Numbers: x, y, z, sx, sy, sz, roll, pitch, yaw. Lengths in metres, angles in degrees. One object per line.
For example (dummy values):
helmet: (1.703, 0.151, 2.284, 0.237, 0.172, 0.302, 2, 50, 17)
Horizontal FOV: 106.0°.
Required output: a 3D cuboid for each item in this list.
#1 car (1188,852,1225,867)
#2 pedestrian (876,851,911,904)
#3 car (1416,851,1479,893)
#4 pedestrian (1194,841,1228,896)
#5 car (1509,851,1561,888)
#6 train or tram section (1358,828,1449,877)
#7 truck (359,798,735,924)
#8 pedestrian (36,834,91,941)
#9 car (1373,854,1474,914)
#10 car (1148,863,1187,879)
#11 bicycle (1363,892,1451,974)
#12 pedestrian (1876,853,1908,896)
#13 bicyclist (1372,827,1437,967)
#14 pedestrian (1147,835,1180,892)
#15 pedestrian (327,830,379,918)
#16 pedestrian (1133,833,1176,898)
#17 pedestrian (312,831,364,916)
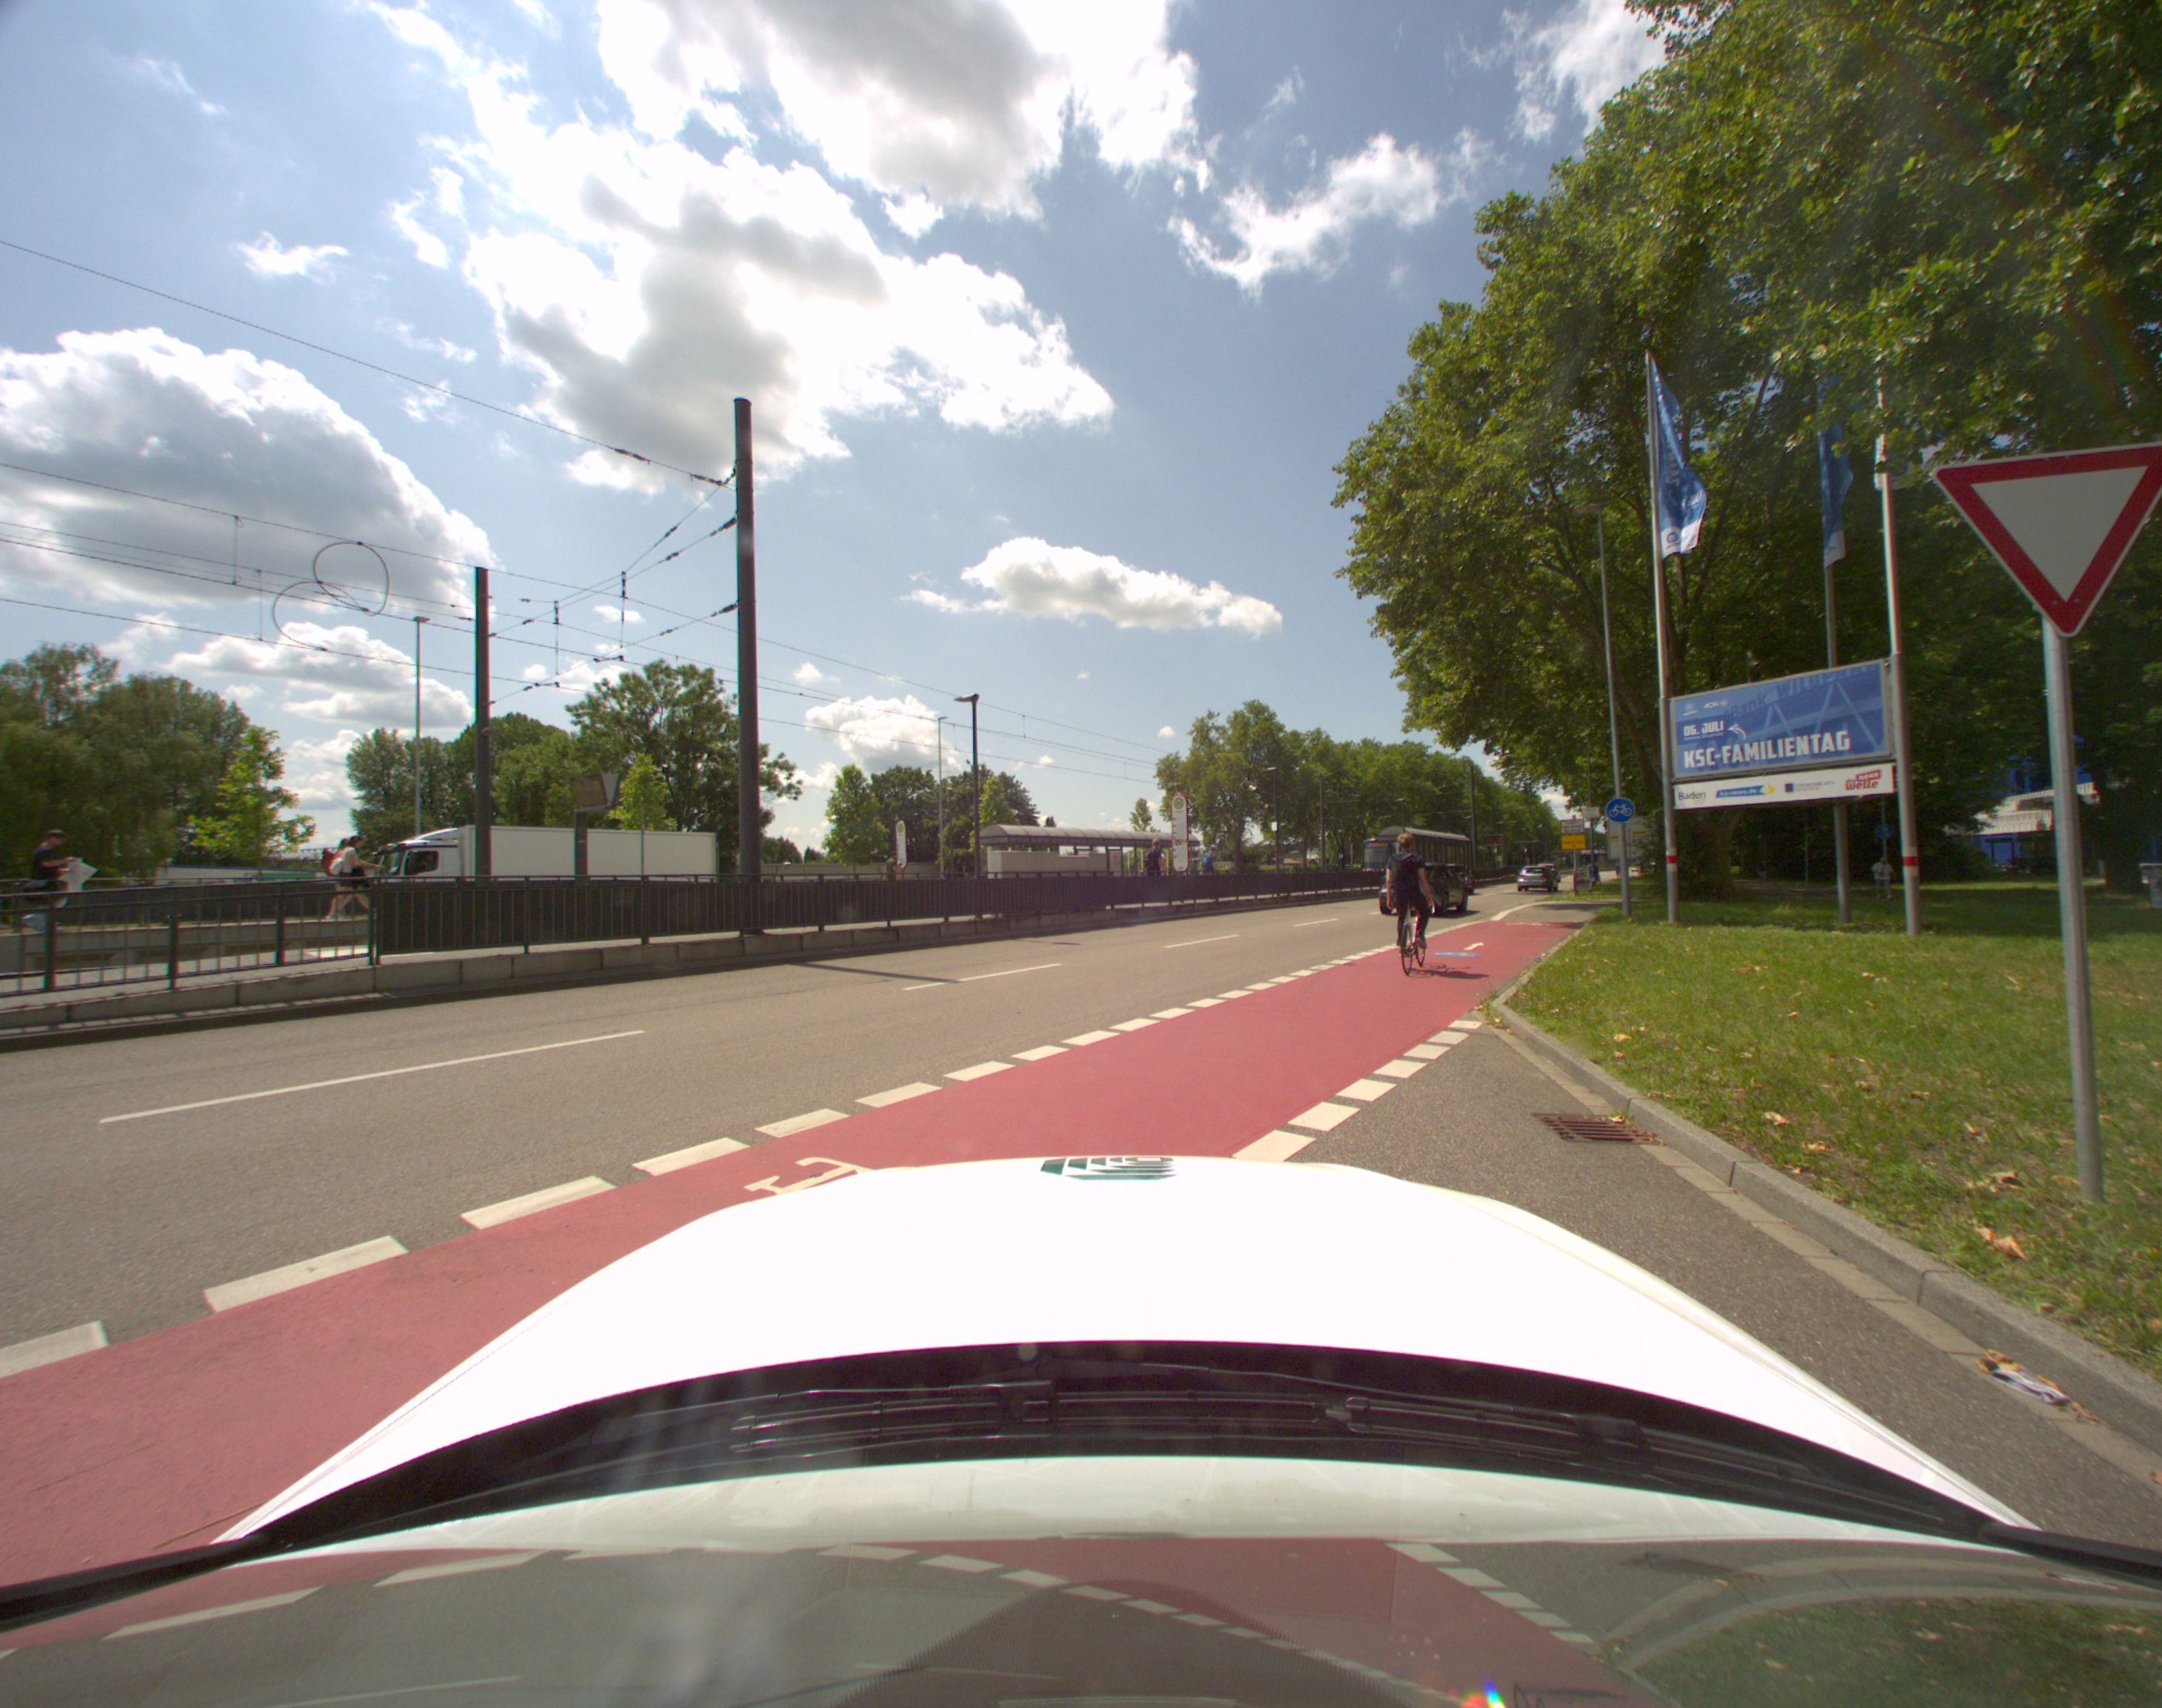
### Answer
car: (14.817, 0.684, 96.461, 3.877, 1.662, 1.922, -1, 0, 38)
pedestrian: (-6.543, 0.795, 28.405, 0.726, 1.807, 0.936, -1, -1, 37)
car: (18.738, 0.853, 41.487, 1.974, 1.989, 4.391, -1, 0, 37)
pedestrian: (4.223, 0.481, 26.494, 0.726, 1.756, 0.936, -1, -1, 37)
car: (26.050, 0.850, 46.658, 1.974, 1.989, 4.391, -2, -1, 37)
train or tram section: (24.280, -0.031, 60.615, 3.007, 3.186, 14.190, -2, -2, 35)
truck: (-20.185, 0.265, 32.130, 2.914, 4.105, 12.073, -1, -1, 38)
pedestrian: (-16.894, 0.536, 13.535, 0.721, 1.721, 0.528, -2, 0, 42)
car: (10.782, 0.877, 25.473, 1.879, 1.675, 4.548, -2, -1, 36)
car: (9.598, 1.883, 90.232, 3.877, 1.662, 1.922, -1, 0, 38)
bicycle: (4.590, 1.055, 11.379, 0.614, 0.999, 2.036, -1, -2, 38)
pedestrian: (32.987, 0.829, 33.151, 0.767, 1.696, 0.897, -1, -1, 37)
bicyclist: (4.475, 0.569, 11.246, 0.603, 1.846, 0.930, -1, -1, 37)
pedestrian: (2.803, 0.309, 27.598, 0.876, 1.871, 0.672, -1, 0, -21)
pedestrian: (-14.747, 0.392, 16.499, 0.629, 1.748, 0.682, 0, 0, 40)
pedestrian: (2.225, 0.341, 24.691, 0.864, 1.939, 1.001, -1, 0, 36)
pedestrian: (-15.480, 0.402, 16.960, 0.593, 1.721, 0.712, -2, 0, 40)
